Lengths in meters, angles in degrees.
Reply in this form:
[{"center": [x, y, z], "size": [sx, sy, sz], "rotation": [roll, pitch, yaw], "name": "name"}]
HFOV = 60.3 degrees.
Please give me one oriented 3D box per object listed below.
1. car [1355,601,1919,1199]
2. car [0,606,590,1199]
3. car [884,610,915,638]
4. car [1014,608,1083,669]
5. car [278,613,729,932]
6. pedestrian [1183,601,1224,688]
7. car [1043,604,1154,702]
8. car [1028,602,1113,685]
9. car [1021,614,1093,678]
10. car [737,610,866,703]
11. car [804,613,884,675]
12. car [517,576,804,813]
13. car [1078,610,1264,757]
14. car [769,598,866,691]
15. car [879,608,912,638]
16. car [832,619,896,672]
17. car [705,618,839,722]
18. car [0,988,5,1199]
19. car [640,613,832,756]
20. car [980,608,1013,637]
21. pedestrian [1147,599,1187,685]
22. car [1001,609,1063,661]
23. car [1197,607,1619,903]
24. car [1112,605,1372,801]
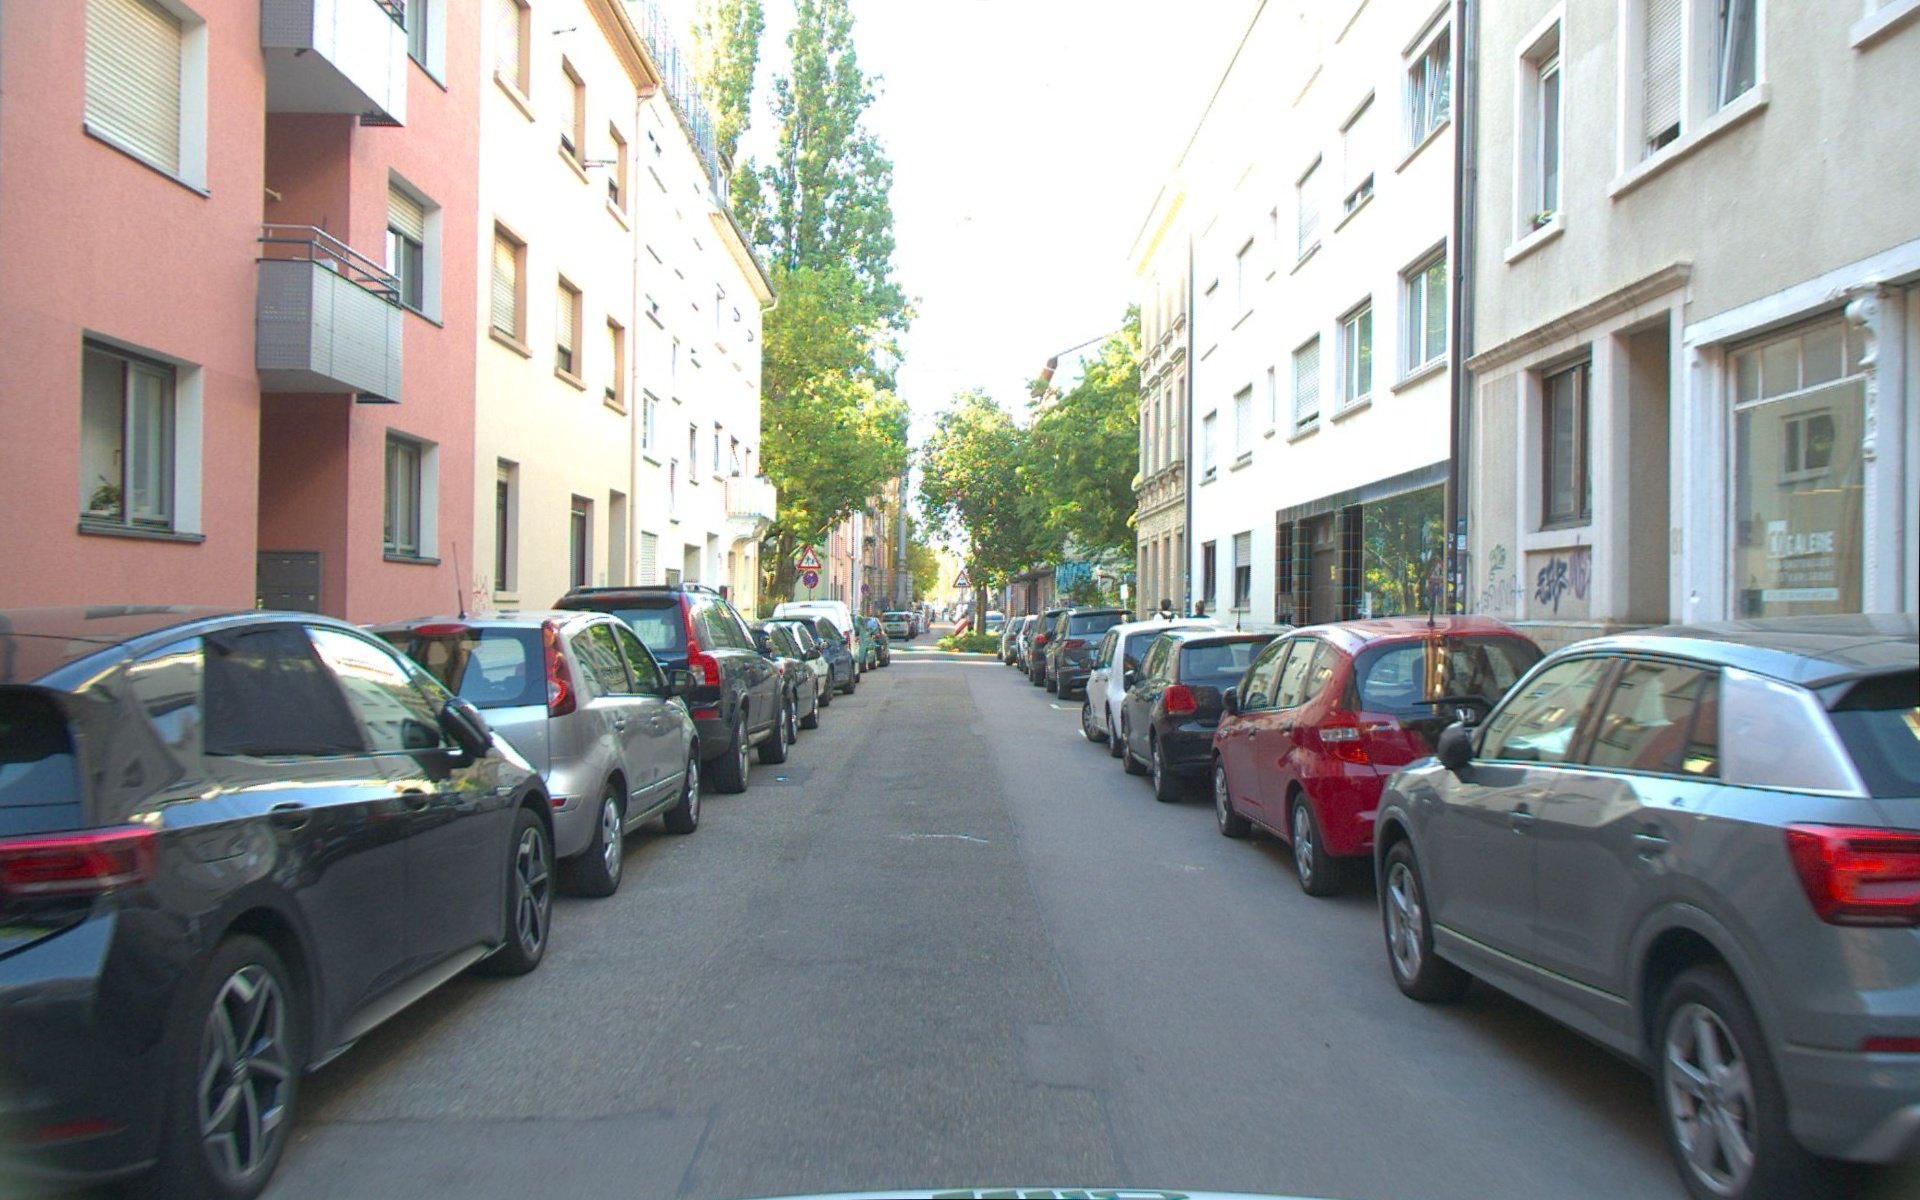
[{"center": [2.733, 0.796, 5.515], "size": [1.709, 1.533, 4.019], "rotation": [-2, 0, -2], "name": "car"}, {"center": [-2.572, 0.827, 5.462], "size": [1.660, 1.548, 4.096], "rotation": [-2, 0, 1], "name": "car"}, {"center": [-3.443, 1.356, 94.430], "size": [1.642, 1.513, 4.093], "rotation": [-2, 0, -1], "name": "car"}, {"center": [2.456, 1.054, 46.641], "size": [1.642, 1.588, 3.795], "rotation": [-2, 0, -1], "name": "car"}, {"center": [-2.603, 0.894, 10.395], "size": [1.622, 1.548, 3.945], "rotation": [-2, 0, 1], "name": "car"}, {"center": [4.848, 0.878, 32.950], "size": [0.671, 1.689, 0.717], "rotation": [-1, 0, -1], "name": "pedestrian"}, {"center": [2.624, 0.978, 32.232], "size": [1.642, 1.655, 4.249], "rotation": [-4, 0, -1], "name": "car"}, {"center": [2.427, 0.956, 37.222], "size": [1.641, 1.711, 4.094], "rotation": [-2, -1, 1], "name": "car"}, {"center": [2.444, 1.143, 42.427], "size": [1.534, 1.509, 3.618], "rotation": [-2, 0, -1], "name": "car"}, {"center": [-2.835, 0.985, 30.408], "size": [1.638, 1.512, 3.994], "rotation": [-2, 0, 5], "name": "car"}, {"center": [-3.029, 1.121, 43.813], "size": [1.635, 1.495, 3.821], "rotation": [-2, 0, 3], "name": "car"}, {"center": [-2.623, 0.758, 15.583], "size": [1.707, 1.842, 4.672], "rotation": [-2, 0, 1], "name": "car"}, {"center": [2.435, 0.918, 19.948], "size": [1.642, 1.533, 3.936], "rotation": [-2, 0, -1], "name": "car"}, {"center": [-2.963, 0.892, 35.087], "size": [1.729, 1.816, 4.038], "rotation": [-2, 0, -1], "name": "car"}, {"center": [-3.444, 1.212, 89.011], "size": [1.642, 1.513, 4.093], "rotation": [-2, 0, -1], "name": "car"}, {"center": [-2.760, 1.289, 48.079], "size": [1.636, 1.385, 4.048], "rotation": [-2, 0, -1], "name": "car"}, {"center": [-2.869, 1.031, 26.014], "size": [1.639, 1.412, 4.181], "rotation": [-2, 0, -1], "name": "car"}, {"center": [-2.352, 0.793, 0.917], "size": [1.595, 1.507, 3.600], "rotation": [-2, 0, -1], "name": "car"}, {"center": [-2.719, 0.979, 20.989], "size": [1.707, 1.533, 4.347], "rotation": [-2, 0, 1], "name": "car"}, {"center": [1.975, 1.229, 90.364], "size": [1.642, 1.513, 3.637], "rotation": [-2, 0, -1], "name": "car"}, {"center": [4.116, 0.828, 32.917], "size": [0.671, 1.689, 0.717], "rotation": [-1, 0, -1], "name": "pedestrian"}, {"center": [2.216, 1.056, 51.542], "size": [1.642, 1.513, 4.093], "rotation": [-2, 0, -1], "name": "car"}, {"center": [2.716, 0.844, 11.004], "size": [1.566, 1.533, 4.183], "rotation": [-2, 0, -1], "name": "car"}, {"center": [2.480, 0.845, 15.445], "size": [1.642, 1.533, 3.936], "rotation": [-2, 0, -1], "name": "car"}]
